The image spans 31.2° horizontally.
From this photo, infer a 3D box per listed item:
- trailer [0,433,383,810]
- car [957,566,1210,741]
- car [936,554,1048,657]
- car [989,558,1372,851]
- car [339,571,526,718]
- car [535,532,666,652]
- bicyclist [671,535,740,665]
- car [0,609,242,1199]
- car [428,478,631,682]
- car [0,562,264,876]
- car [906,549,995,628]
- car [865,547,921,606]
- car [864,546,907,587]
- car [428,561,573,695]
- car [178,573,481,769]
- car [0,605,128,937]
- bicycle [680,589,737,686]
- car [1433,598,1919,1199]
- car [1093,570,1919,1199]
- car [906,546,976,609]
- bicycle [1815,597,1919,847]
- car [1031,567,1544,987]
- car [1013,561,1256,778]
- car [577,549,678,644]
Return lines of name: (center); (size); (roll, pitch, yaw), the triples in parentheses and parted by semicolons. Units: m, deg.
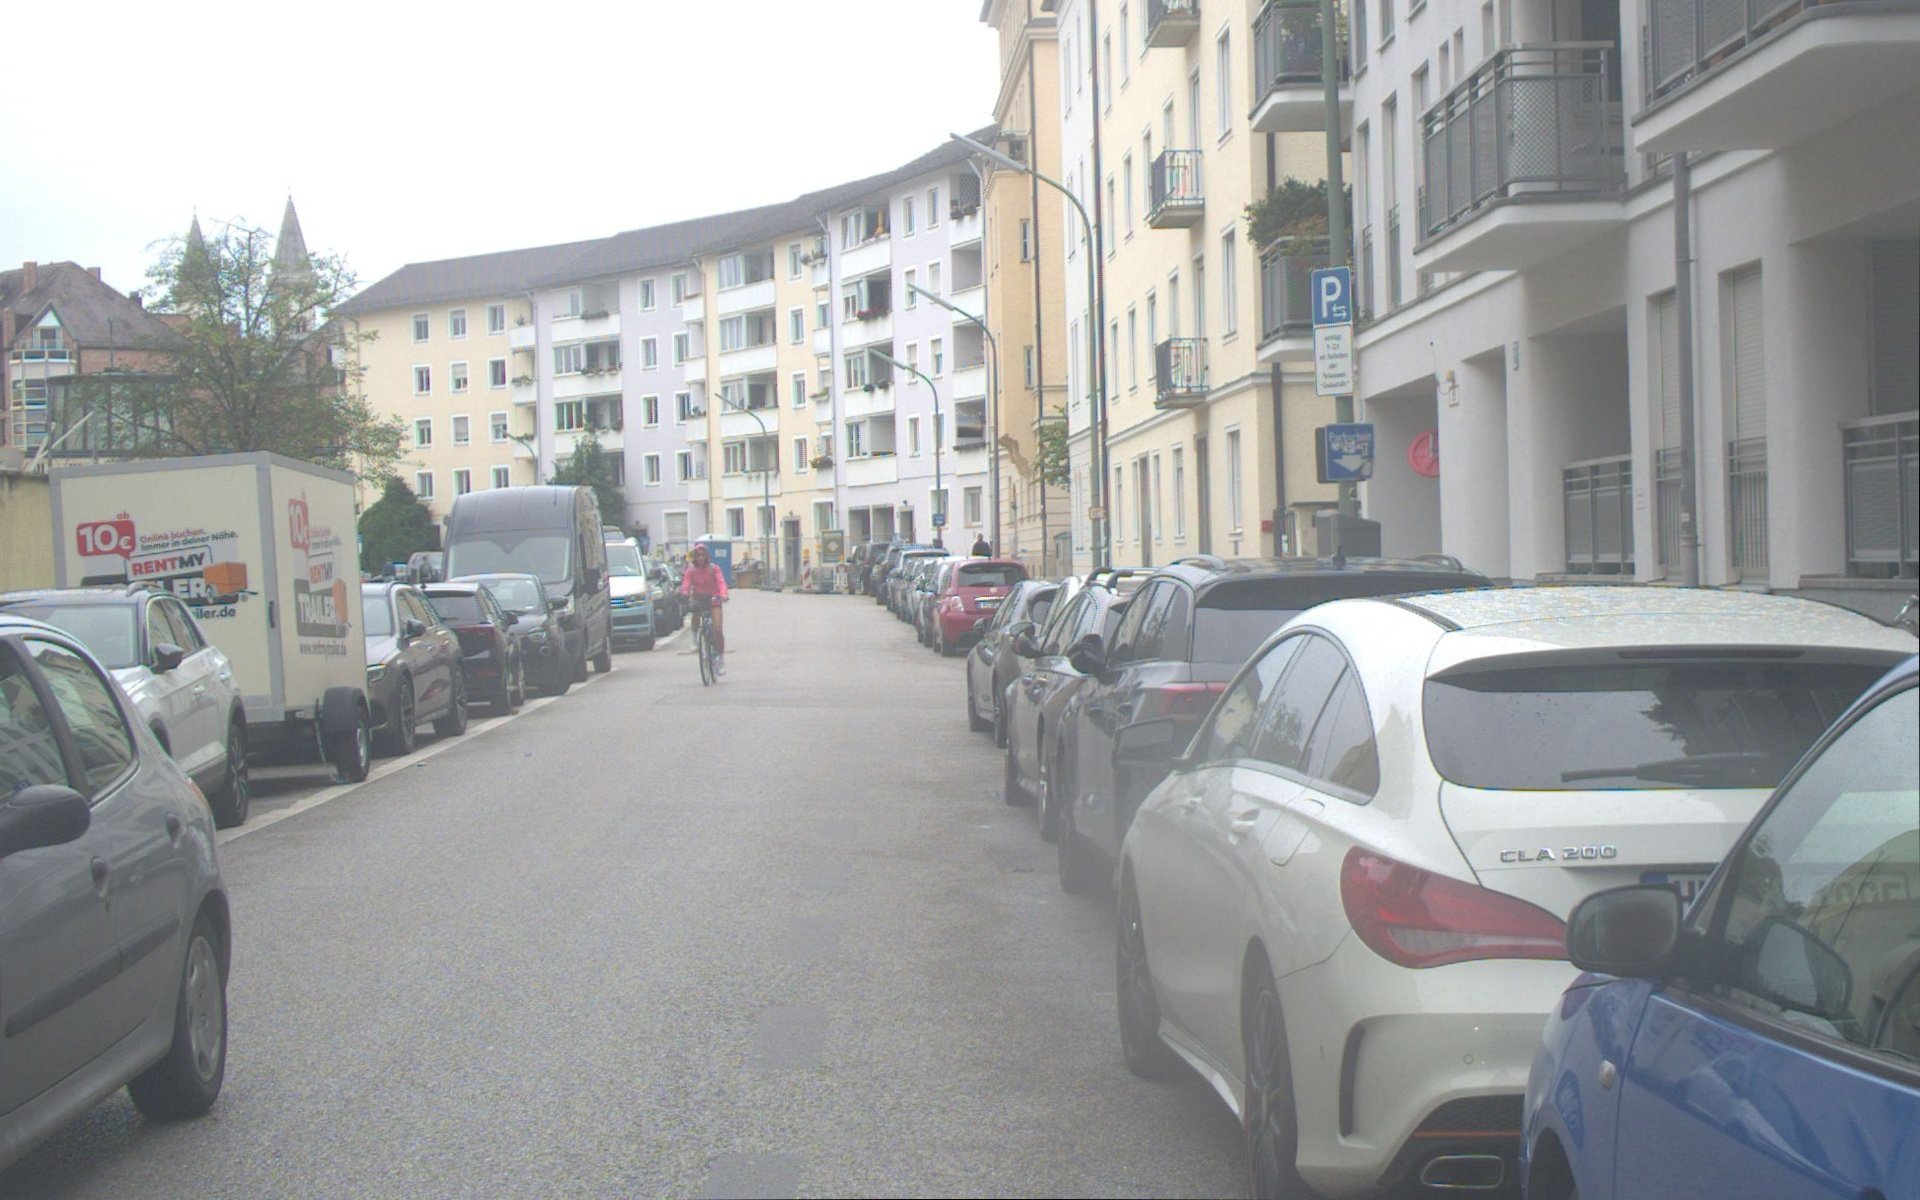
trailer: (-5.563, 0.104, 25.411); (1.709, 2.453, 4.387); (-3, 1, 0)
car: (1.014, 0.425, 30.272); (1.763, 1.403, 4.079); (-1, 0, -4)
car: (0.480, 0.060, 54.202); (1.595, 1.503, 3.801); (-1, 1, -1)
car: (1.194, 0.528, 20.580); (1.734, 1.525, 4.622); (1, 1, -3)
car: (-5.723, 0.444, 37.676); (1.700, 1.441, 3.825); (-1, 2, -4)
car: (-6.278, -0.181, 60.488); (1.882, 1.925, 4.601); (-3, 1, -2)
bicyclist: (-3.145, -0.010, 42.511); (0.694, 1.556, 0.966); (-2, 1, 1)
car: (-2.793, 0.762, 7.793); (1.581, 1.406, 3.613); (-2, 0, -1)
car: (-5.907, -0.334, 47.801); (2.088, 2.627, 5.377); (-1, 1, 0)
car: (-5.279, 0.634, 20.124); (1.686, 1.597, 3.922); (-3, 1, -3)
car: (-0.223, -0.260, 70.045); (1.599, 1.486, 3.799); (-1, 1, -3)
car: (-1.956, -0.700, 99.317); (1.474, 1.635, 4.001); (0, 1, -3)
car: (-2.421, -1.093, 111.045); (1.272, 1.294, 2.798); (-1, 1, -3)
car: (-5.664, 0.340, 42.650); (1.585, 1.533, 3.544); (-2, 0, -5)
car: (-5.611, 0.583, 31.135); (1.766, 1.533, 4.541); (-3, 1, 1)
car: (-5.105, 0.789, 15.369); (1.860, 1.408, 4.334); (-3, 0, -3)
bicycle: (-3.105, 0.452, 42.552); (0.504, 1.124, 1.773); (-2, 1, 1)
car: (1.725, 0.726, 4.115); (1.618, 1.407, 3.554); (1, 0, -3)
car: (1.360, 0.669, 8.526); (1.658, 1.435, 4.207); (1, 1, -3)
car: (-0.519, -0.607, 89.336); (1.590, 1.577, 4.300); (0, 1, -3)
bicycle: (4.850, 0.587, 16.871); (0.627, 1.156, 2.128); (-2, 1, -4)
car: (1.263, 0.642, 14.790); (1.603, 1.525, 3.985); (1, 1, -3)
car: (1.264, 0.473, 26.146); (1.519, 1.525, 3.527); (0, 1, -2)
car: (-6.495, -0.103, 67.468); (1.701, 1.685, 4.028); (-3, 1, -3)
